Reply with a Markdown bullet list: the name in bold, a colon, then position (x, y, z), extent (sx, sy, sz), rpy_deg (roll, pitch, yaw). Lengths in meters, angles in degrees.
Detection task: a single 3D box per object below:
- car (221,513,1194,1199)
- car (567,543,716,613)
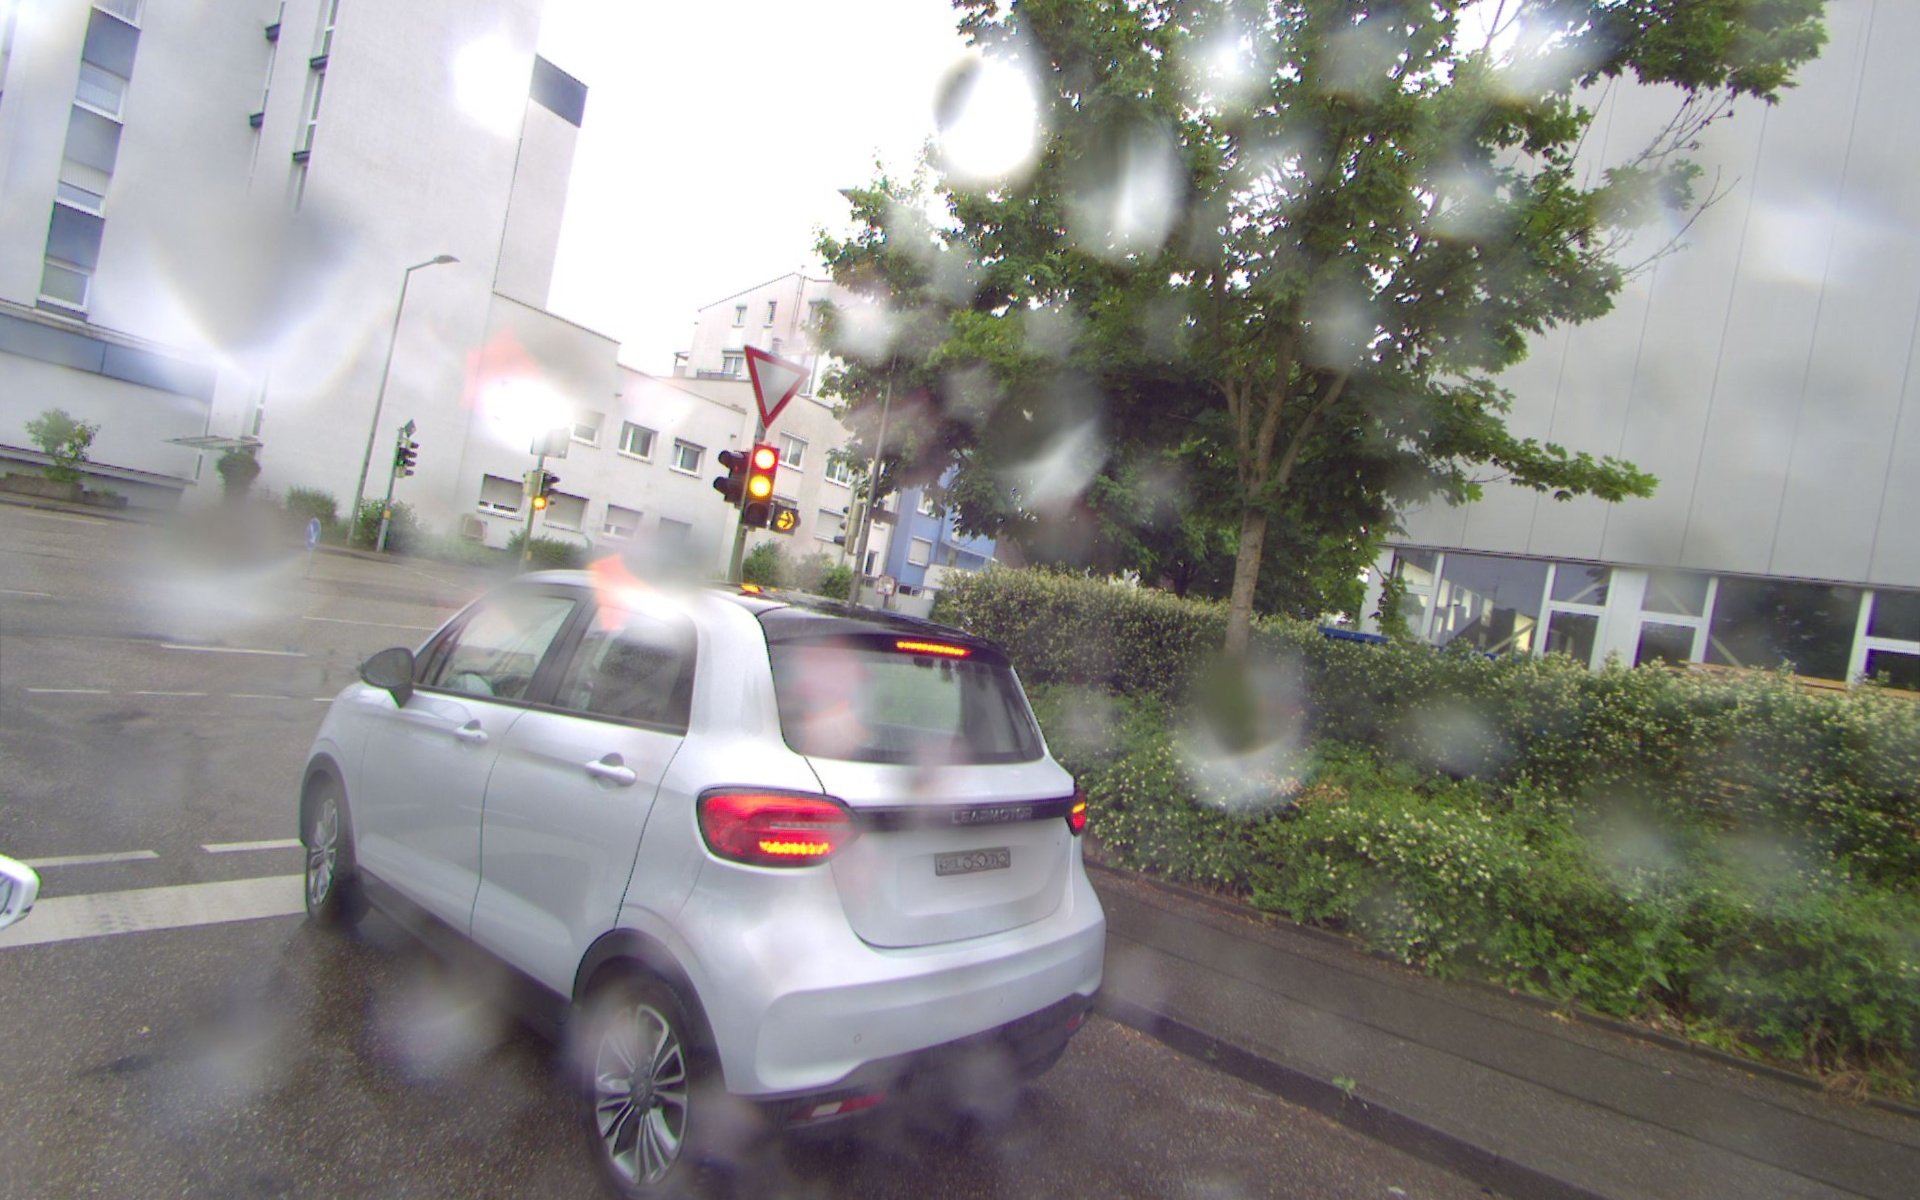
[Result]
- **car**: position (-1.301, 0.688, 4.002), extent (3.850, 1.573, 1.688), rpy_deg (8, 0, 41)
- **car**: position (-10.114, -0.680, 32.192), extent (1.717, 1.504, 4.134), rpy_deg (12, 1, 40)
